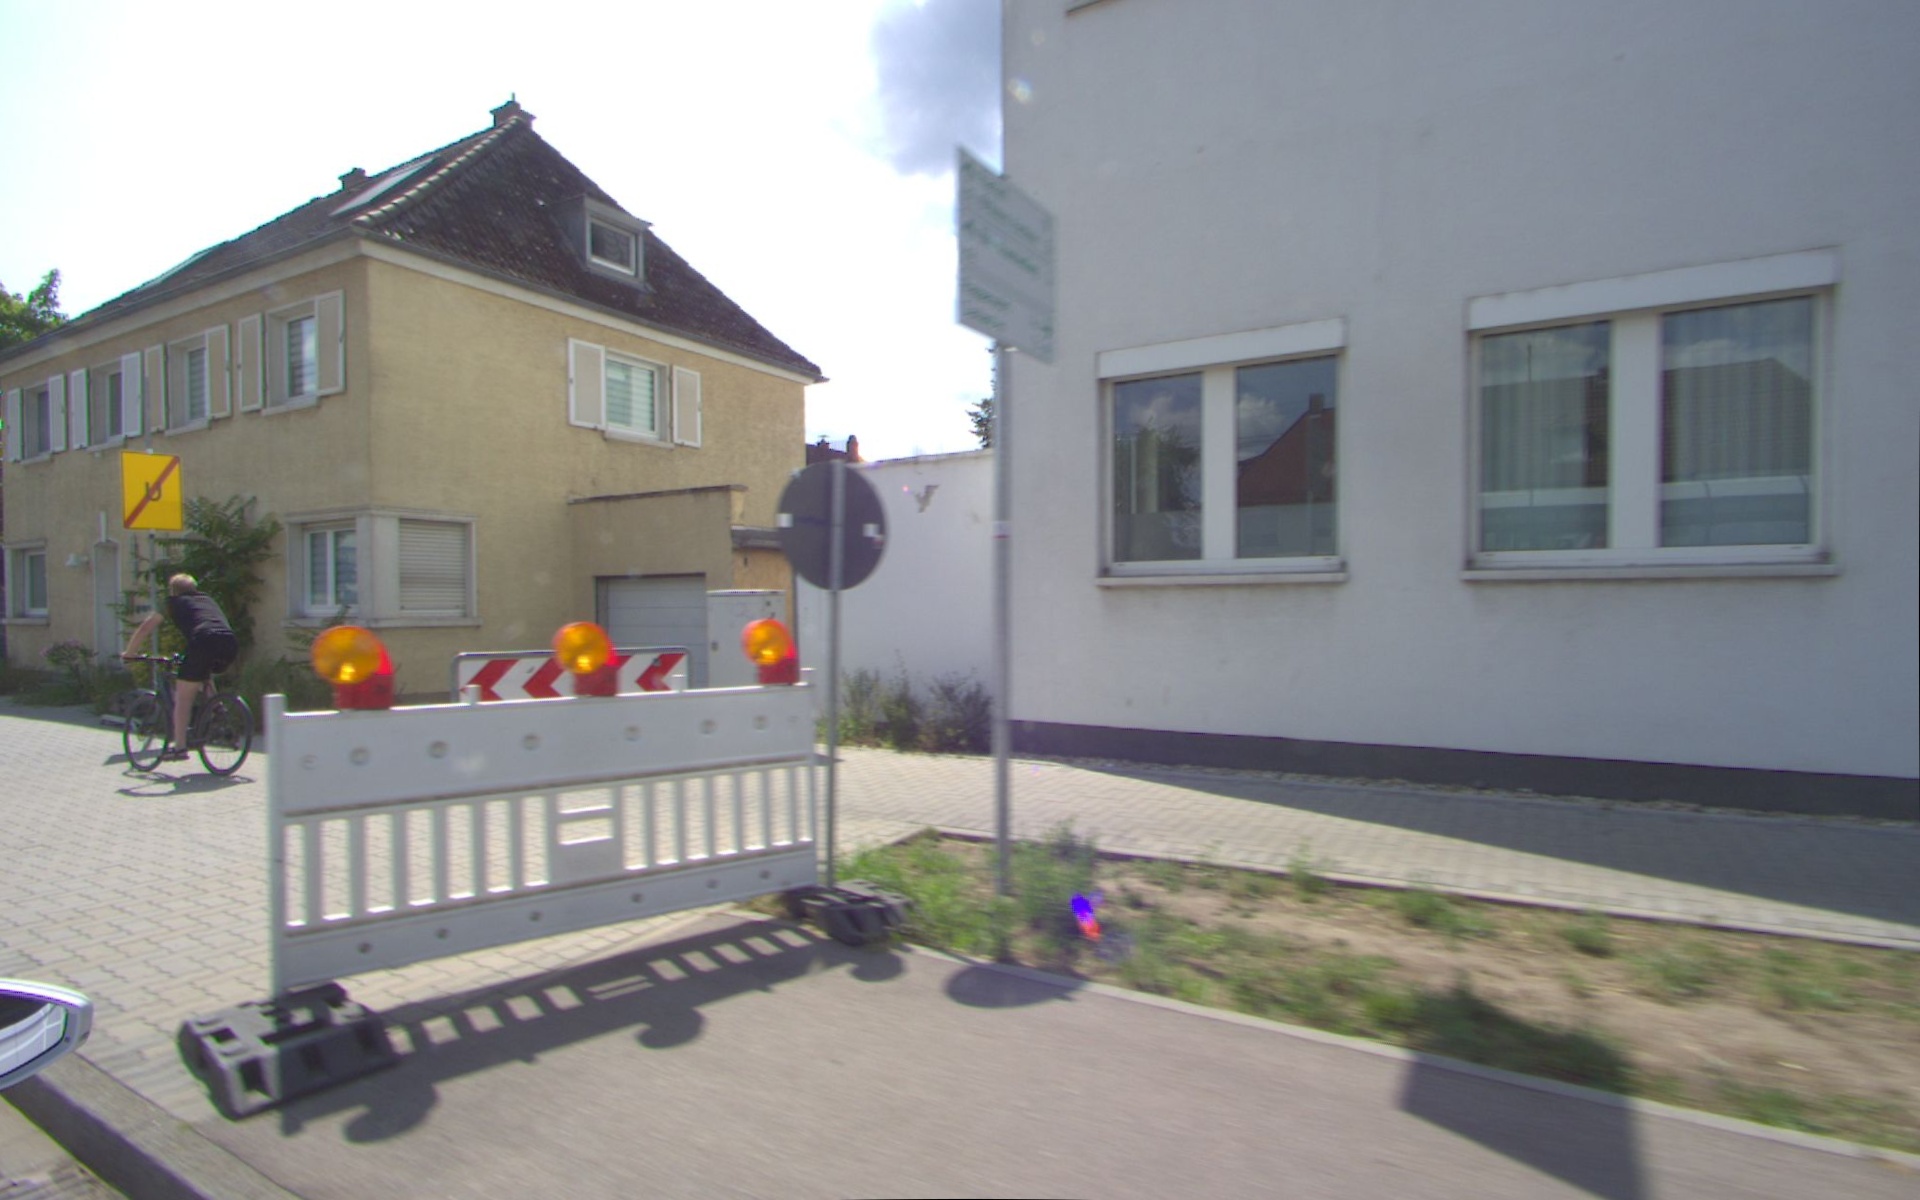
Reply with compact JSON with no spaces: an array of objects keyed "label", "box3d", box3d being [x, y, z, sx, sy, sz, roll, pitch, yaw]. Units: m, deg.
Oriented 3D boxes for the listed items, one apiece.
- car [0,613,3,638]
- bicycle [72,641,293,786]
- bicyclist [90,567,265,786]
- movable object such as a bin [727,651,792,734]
[{"label":"car","box3d":[-53.928,1.374,54.458,4.074,1.368,1.864,-1,-2,33]},{"label":"bicycle","box3d":[-6.917,0.952,8.896,1.941,1.090,0.827,0,2,29]},{"label":"bicyclist","box3d":[-6.937,0.627,8.893,1.067,1.818,0.827,0,2,29]},{"label":"movable object such as a bin","box3d":[-2.755,1.253,13.763,0.659,1.101,0.611,-1,-2,42]}]
